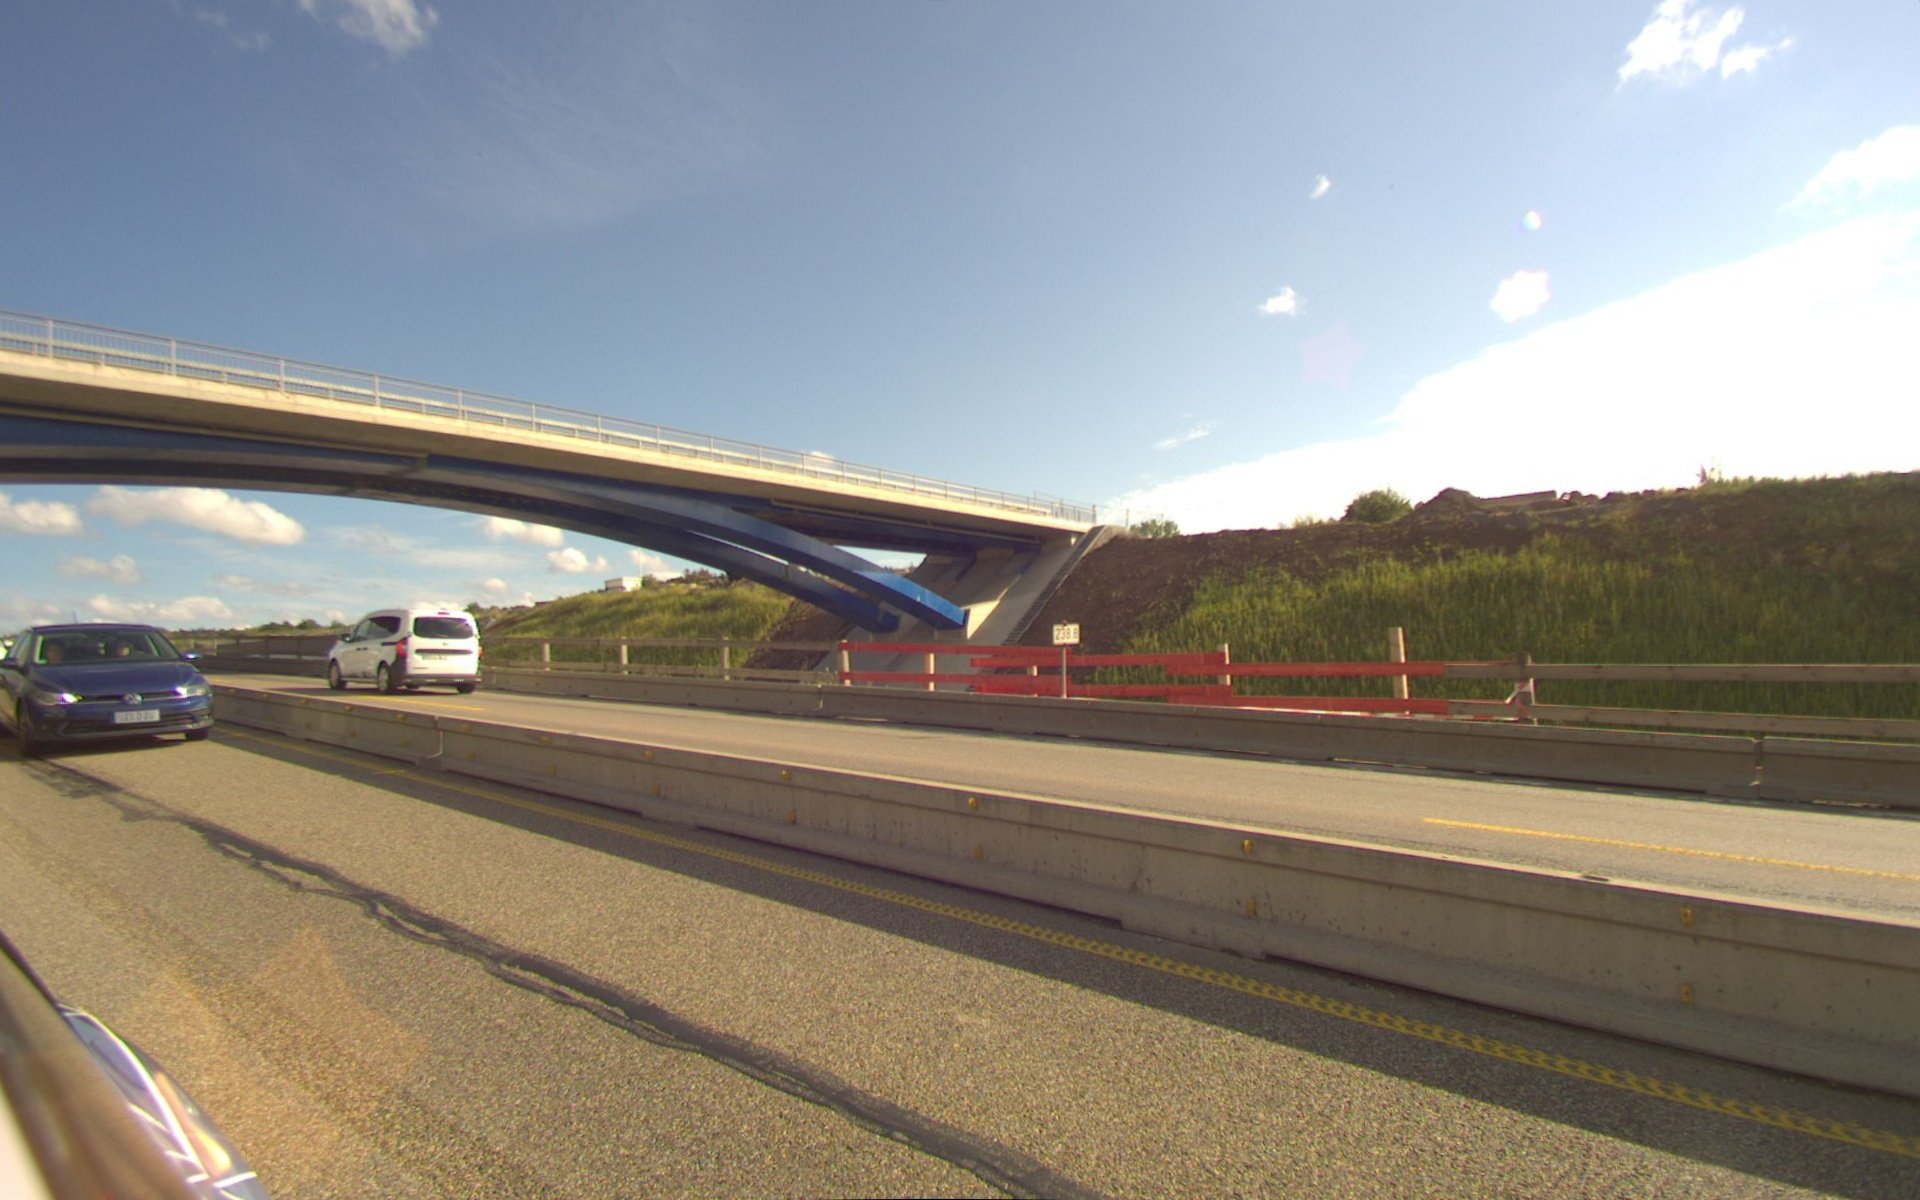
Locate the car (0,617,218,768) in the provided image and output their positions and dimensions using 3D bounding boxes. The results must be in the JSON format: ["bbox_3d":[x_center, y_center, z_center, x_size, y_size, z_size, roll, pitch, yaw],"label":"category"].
[{"bbox_3d":[-10.608,0.994,12.350,3.998,1.519,1.697,-1,-1,41],"label":"car"}]

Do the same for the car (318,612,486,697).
[{"bbox_3d":[-12.141,1.174,21.919,4.214,1.672,1.716,-2,-4,39],"label":"car"}]

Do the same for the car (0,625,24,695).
[{"bbox_3d":[-22.939,1.362,23.172,4.372,1.507,1.802,-1,-1,41],"label":"car"}]
